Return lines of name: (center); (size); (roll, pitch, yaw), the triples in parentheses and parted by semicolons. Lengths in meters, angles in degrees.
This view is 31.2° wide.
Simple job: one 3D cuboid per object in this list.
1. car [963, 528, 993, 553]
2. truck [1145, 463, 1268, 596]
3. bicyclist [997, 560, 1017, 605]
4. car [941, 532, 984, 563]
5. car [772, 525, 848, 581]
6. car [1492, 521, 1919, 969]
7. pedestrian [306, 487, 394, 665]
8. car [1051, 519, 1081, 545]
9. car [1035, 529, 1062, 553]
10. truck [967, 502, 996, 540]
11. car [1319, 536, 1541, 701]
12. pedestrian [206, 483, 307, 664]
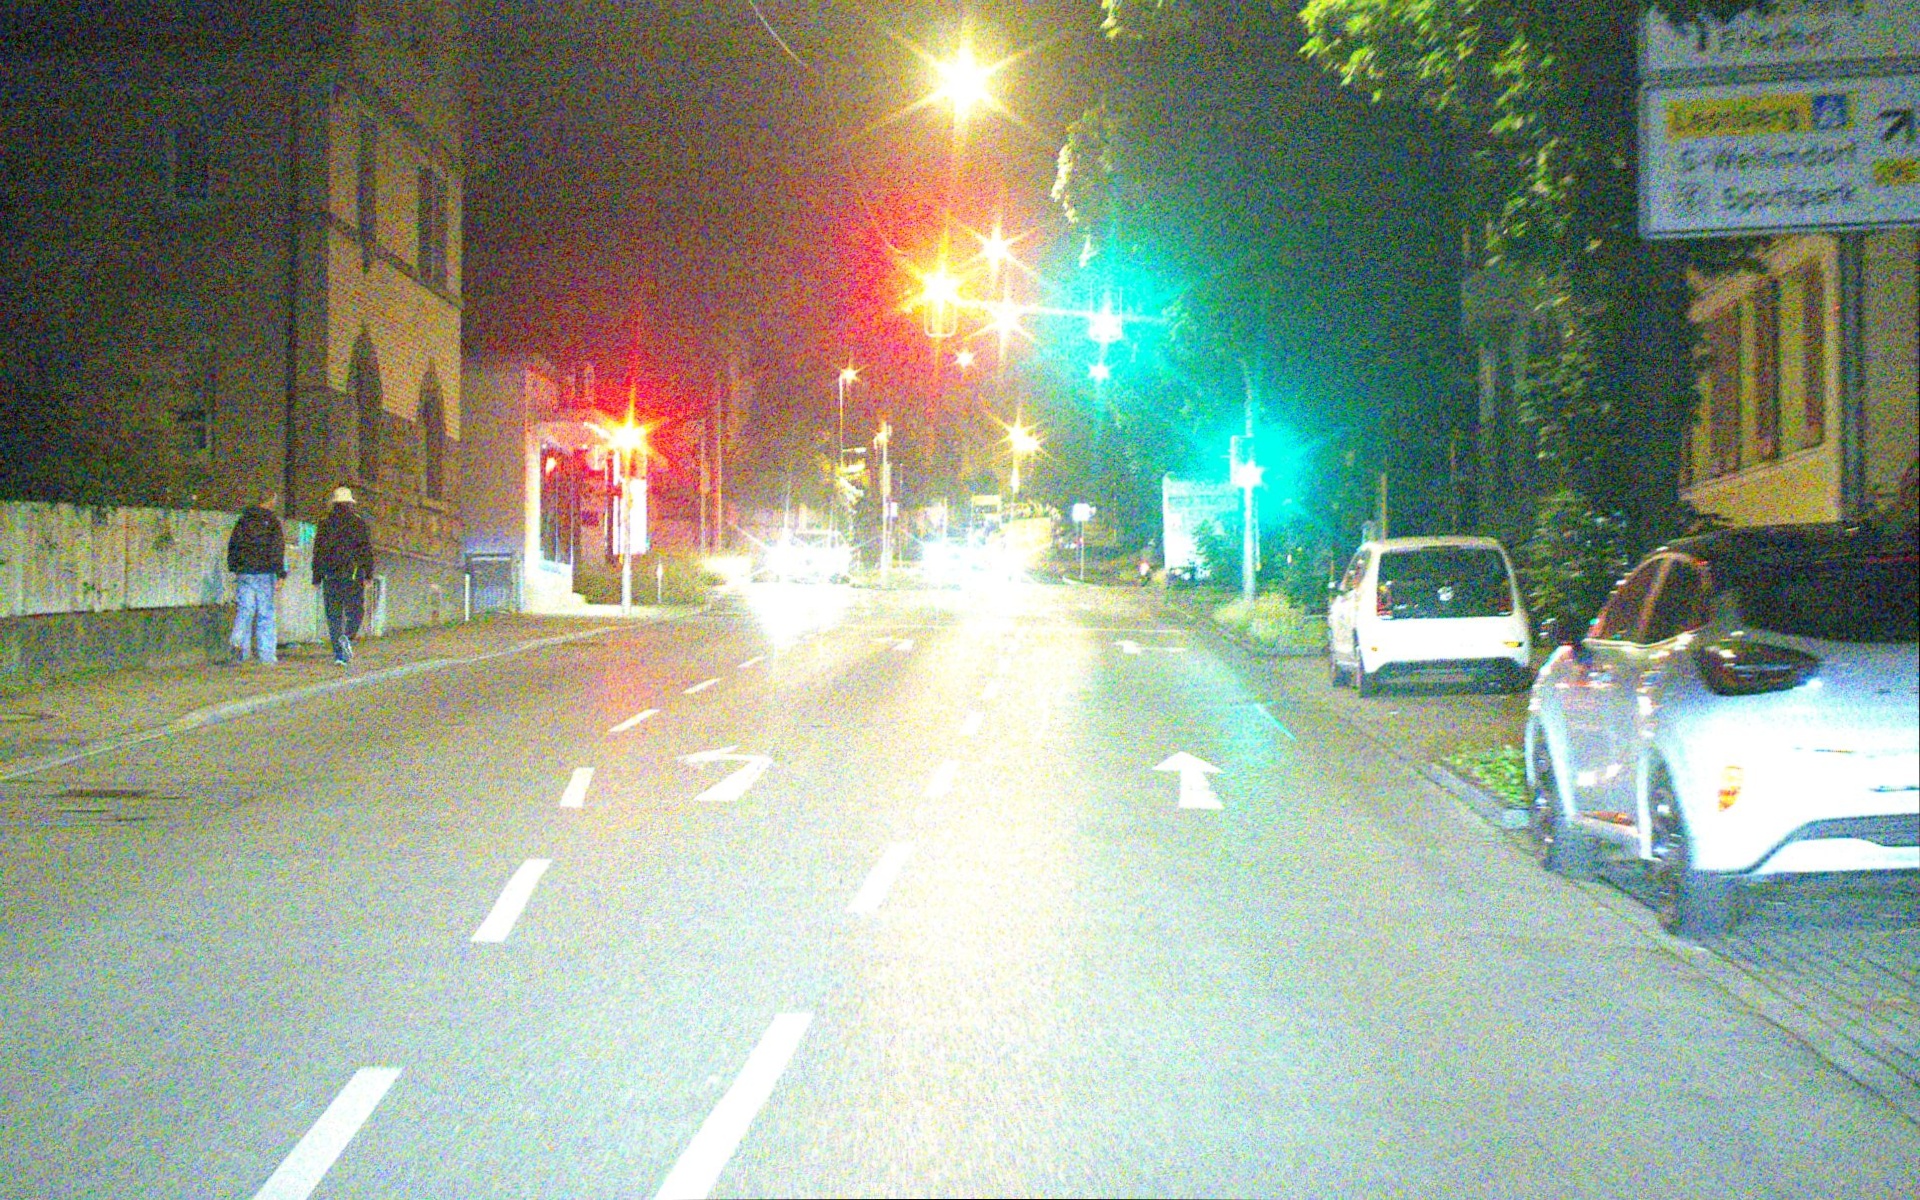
car: (1.109, -3.631, 211.379); (1.815, 1.486, 4.000); (1, 1, 0)
truck: (6.031, -1.734, 84.828); (2.749, 3.100, 6.258); (1, 1, 2)
bicyclist: (1.710, -0.647, 125.307); (0.690, 1.631, 0.896); (1, 0, 2)
car: (0.137, -2.444, 158.895); (1.916, 1.384, 4.583); (1, 1, 1)
car: (-4.235, -1.353, 97.850); (1.857, 1.529, 4.028); (1, 1, 1)
car: (3.472, 0.467, 14.176); (1.859, 1.548, 4.046); (-2, 1, -1)
pedestrian: (-6.051, -0.247, 34.144); (0.675, 1.739, 1.029); (1, 1, 1)
car: (5.986, -3.830, 193.739); (1.634, 1.447, 3.485); (1, 1, 2)
car: (5.415, -3.617, 209.873); (1.634, 1.447, 3.485); (1, 1, 2)
truck: (1.611, -5.950, 260.398); (2.086, 2.838, 5.832); (1, 1, 0)
car: (4.501, 0.137, 33.362); (1.668, 1.479, 3.603); (-1, 1, 1)
pedestrian: (-6.866, -0.266, 33.613); (0.742, 1.739, 1.103); (1, 1, 1)
